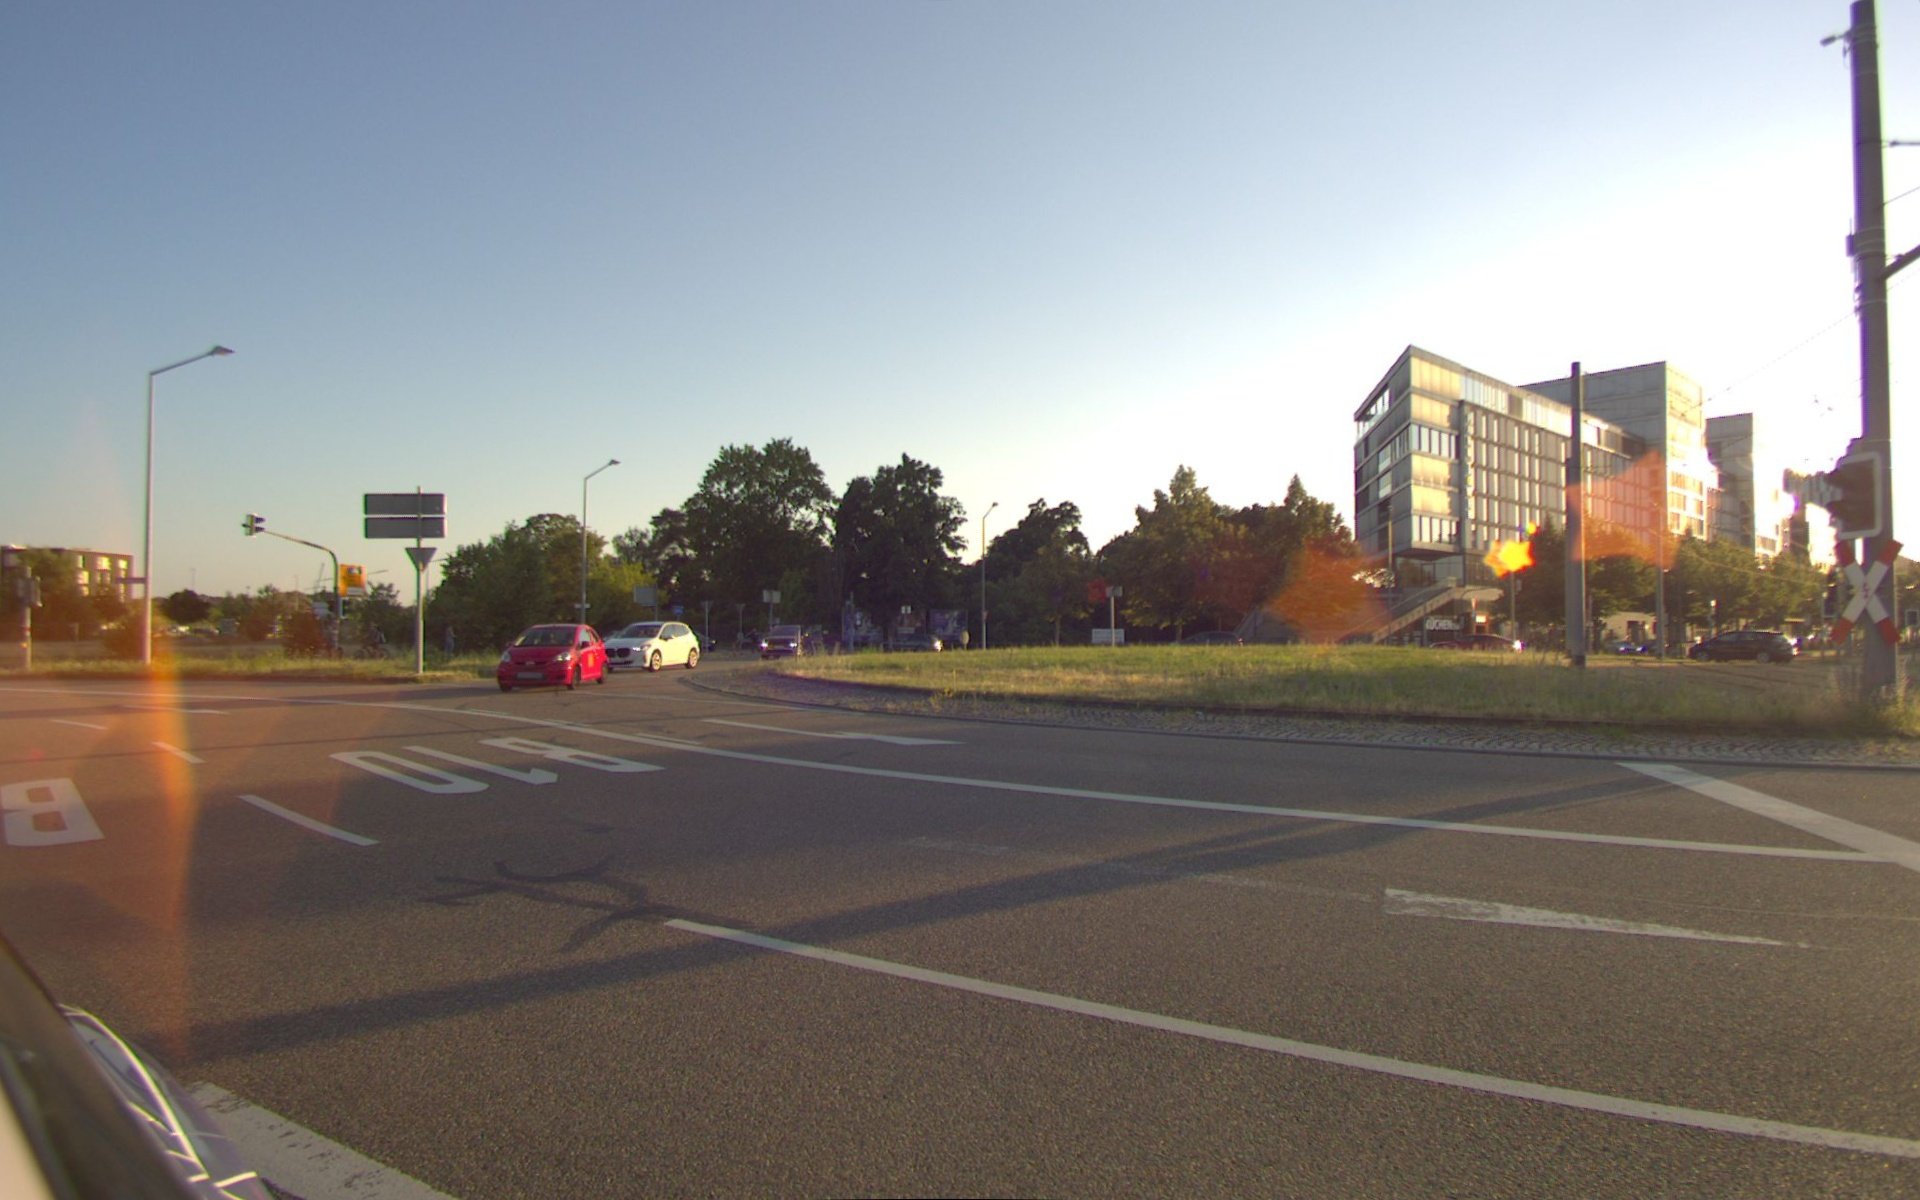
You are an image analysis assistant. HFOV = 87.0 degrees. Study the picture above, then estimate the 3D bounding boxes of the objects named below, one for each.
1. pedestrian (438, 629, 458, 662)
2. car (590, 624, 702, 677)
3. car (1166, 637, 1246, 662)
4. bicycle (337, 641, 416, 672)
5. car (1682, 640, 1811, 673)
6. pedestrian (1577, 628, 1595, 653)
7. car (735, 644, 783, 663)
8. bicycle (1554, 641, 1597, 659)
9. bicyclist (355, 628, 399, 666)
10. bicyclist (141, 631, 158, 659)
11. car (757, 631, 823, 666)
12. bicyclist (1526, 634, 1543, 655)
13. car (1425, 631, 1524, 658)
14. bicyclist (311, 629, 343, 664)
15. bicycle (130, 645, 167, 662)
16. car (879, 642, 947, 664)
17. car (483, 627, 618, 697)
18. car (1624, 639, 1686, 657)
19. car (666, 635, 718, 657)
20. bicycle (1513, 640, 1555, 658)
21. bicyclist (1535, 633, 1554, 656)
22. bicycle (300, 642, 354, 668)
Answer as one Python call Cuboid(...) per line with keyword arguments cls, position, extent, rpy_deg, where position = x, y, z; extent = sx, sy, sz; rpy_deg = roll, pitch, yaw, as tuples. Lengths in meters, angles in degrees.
Cuboid(cls="pedestrian", position=(-27.446, 2.434, 54.240), extent=(0.875, 1.714, 0.723), rpy_deg=(0, -2, -19))
Cuboid(cls="car", position=(-9.914, 1.577, 32.276), extent=(1.740, 1.570, 4.202), rpy_deg=(-1, -2, 9))
Cuboid(cls="car", position=(14.681, 2.955, 60.556), extent=(4.345, 1.443, 1.943), rpy_deg=(-1, -2, 3))
Cuboid(cls="bicycle", position=(-27.853, 2.672, 48.439), extent=(1.113, 1.406, 3.522), rpy_deg=(0, -2, 14))
Cuboid(cls="car", position=(36.850, 2.611, 47.554), extent=(1.911, 1.443, 4.334), rpy_deg=(0, -2, -22))
Cuboid(cls="pedestrian", position=(43.089, 2.806, 69.689), extent=(0.888, 1.720, 0.783), rpy_deg=(-2, -3, 44))
Cuboid(cls="car", position=(-15.883, 4.242, 79.826), extent=(3.750, 1.443, 1.917), rpy_deg=(-3, -3, 42))
Cuboid(cls="bicycle", position=(41.753, 3.362, 68.687), extent=(2.406, 1.176, 0.745), rpy_deg=(-1, -3, 38))
Cuboid(cls="bicyclist", position=(-27.917, 2.230, 48.491), extent=(1.113, 1.762, 1.410), rpy_deg=(0, -2, 15))
Cuboid(cls="bicyclist", position=(-40.687, 2.272, 50.796), extent=(0.441, 1.408, 0.474), rpy_deg=(0, -2, -4))
Cuboid(cls="car", position=(-8.034, 2.293, 48.280), extent=(1.808, 1.570, 4.201), rpy_deg=(-1, -2, 10))
Cuboid(cls="bicyclist", position=(39.074, 3.033, 68.806), extent=(0.879, 1.403, 0.744), rpy_deg=(-2, -3, 40))
Cuboid(cls="car", position=(28.645, 2.487, 56.401), extent=(4.589, 1.443, 1.920), rpy_deg=(-2, -3, 38))
Cuboid(cls="bicyclist", position=(-29.982, 2.193, 47.934), extent=(0.802, 1.645, 0.997), rpy_deg=(0, -2, 12))
Cuboid(cls="bicycle", position=(-40.700, 2.686, 50.768), extent=(1.397, 0.797, 0.474), rpy_deg=(0, -2, -4))
Cuboid(cls="car", position=(-3.252, 3.672, 70.270), extent=(4.375, 1.443, 1.929), rpy_deg=(-1, -2, 24))
Cuboid(cls="car", position=(-9.182, 1.335, 23.057), extent=(1.669, 1.432, 4.215), rpy_deg=(0, -2, -5))
Cuboid(cls="car", position=(64.622, 4.447, 94.186), extent=(1.913, 1.585, 4.345), rpy_deg=(1, -2, -37))
Cuboid(cls="car", position=(-19.217, 3.248, 72.437), extent=(1.814, 1.512, 4.259), rpy_deg=(2, -3, -42))
Cuboid(cls="bicycle", position=(39.014, 3.297, 68.833), extent=(2.408, 1.176, 0.744), rpy_deg=(-2, -3, 41))
Cuboid(cls="bicyclist", position=(39.275, 2.957, 68.002), extent=(0.977, 1.537, 0.745), rpy_deg=(-1, -3, 38))
Cuboid(cls="bicycle", position=(-29.988, 2.585, 47.971), extent=(0.802, 1.188, 2.320), rpy_deg=(0, -2, 11))
